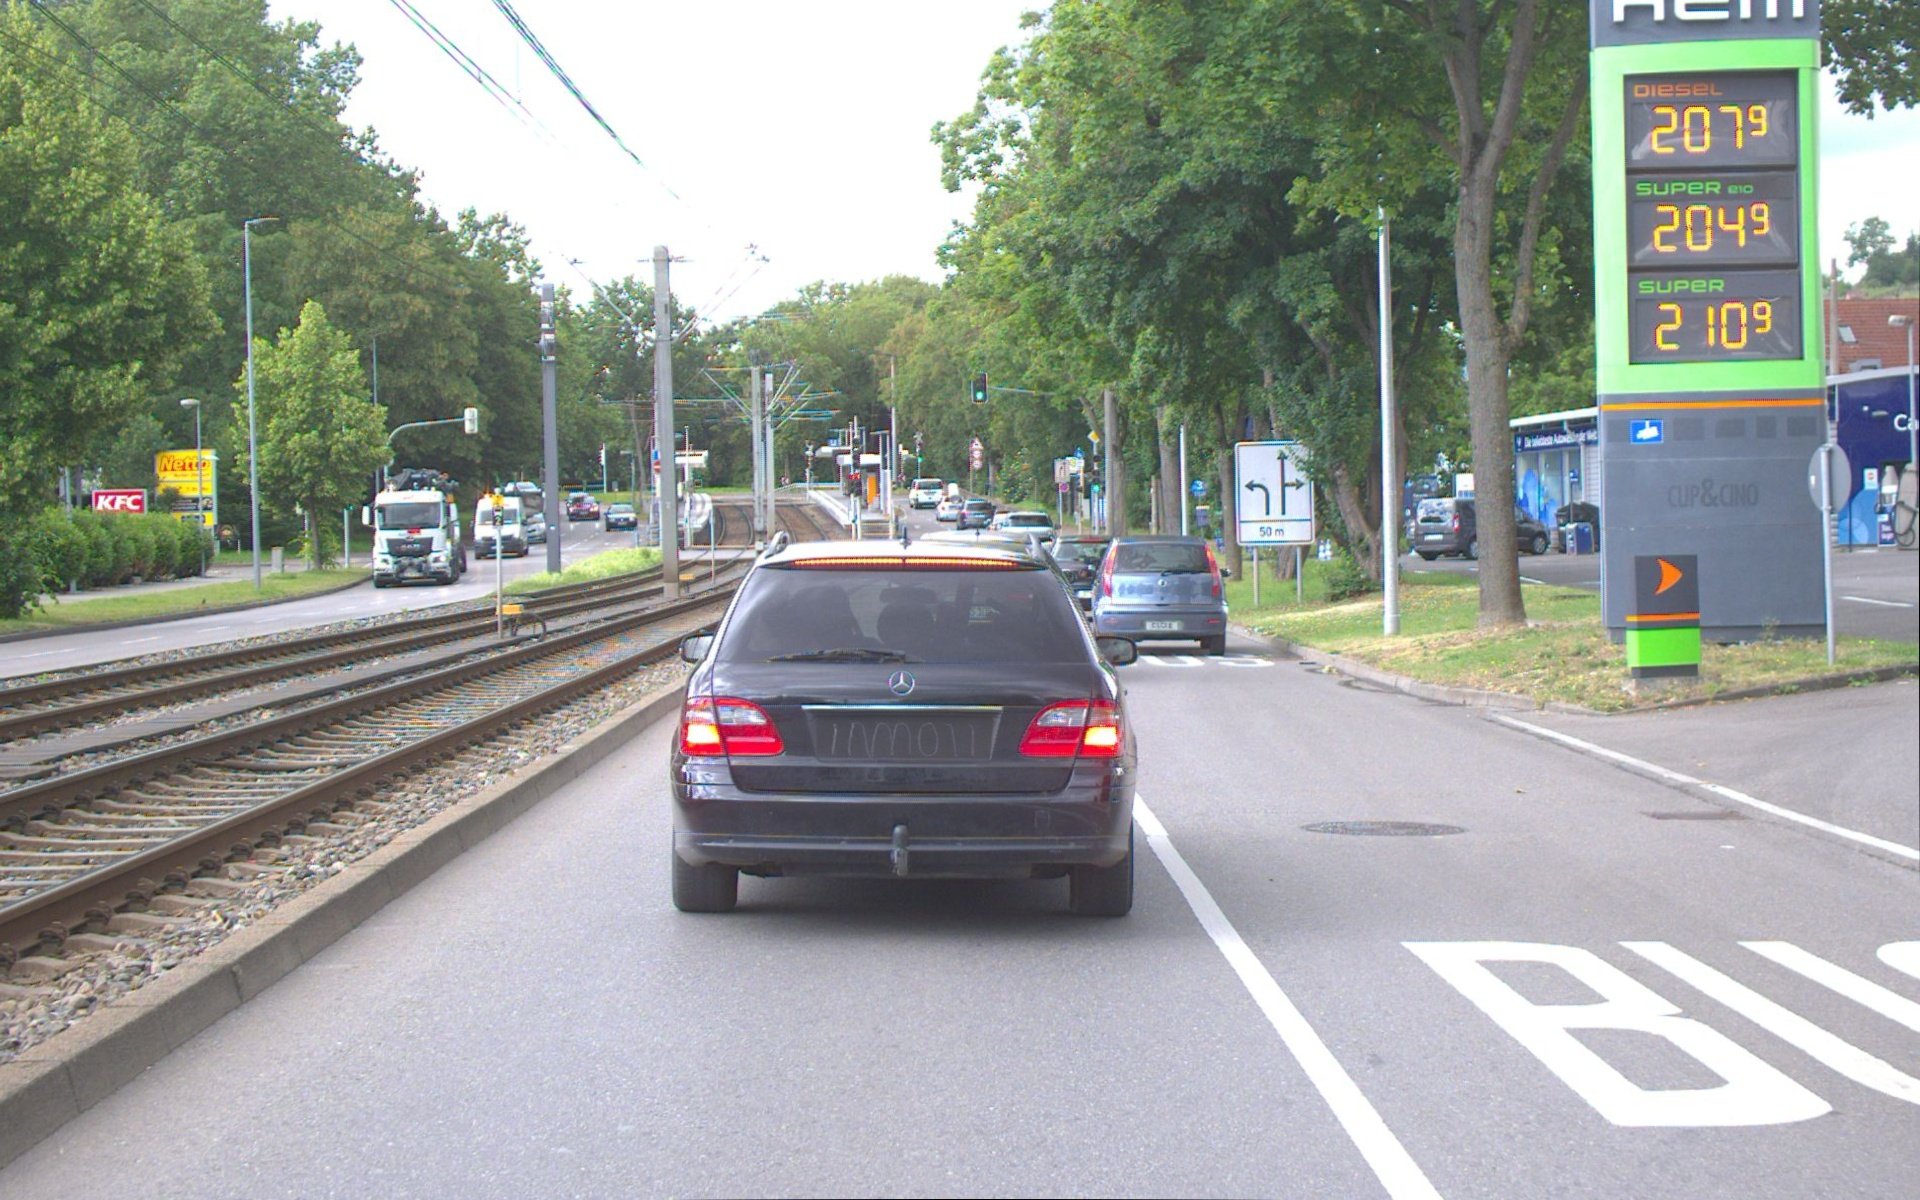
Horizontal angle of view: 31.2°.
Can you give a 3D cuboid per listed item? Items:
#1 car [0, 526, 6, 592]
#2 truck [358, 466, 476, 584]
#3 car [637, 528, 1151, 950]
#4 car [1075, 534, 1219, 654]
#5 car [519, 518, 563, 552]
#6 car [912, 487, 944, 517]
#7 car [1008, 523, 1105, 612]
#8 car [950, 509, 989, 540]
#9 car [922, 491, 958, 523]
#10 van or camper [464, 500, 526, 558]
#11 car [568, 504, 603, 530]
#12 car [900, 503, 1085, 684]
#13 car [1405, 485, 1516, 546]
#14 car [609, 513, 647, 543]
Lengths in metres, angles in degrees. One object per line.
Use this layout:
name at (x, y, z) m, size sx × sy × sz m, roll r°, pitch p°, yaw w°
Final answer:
car at (-25.026, -0.921, 82.185) m, size 3.986 × 1.594 × 1.797 m, roll -2°, pitch 1°, yaw -5°
truck at (-17.996, -2.498, 114.533) m, size 2.706 × 3.651 × 11.114 m, roll -2°, pitch 1°, yaw -3°
car at (-0.245, 0.451, 14.065) m, size 1.808 × 1.469 × 3.881 m, roll 0°, pitch 1°, yaw 0°
car at (2.302, -0.096, 42.980) m, size 1.571 × 1.410 × 3.354 m, roll 1°, pitch 1°, yaw 0°
car at (-20.835, -3.245, 171.129) m, size 1.765 × 1.641 × 3.771 m, roll 1°, pitch 1°, yaw 0°
car at (-2.001, -6.195, 217.424) m, size 1.993 × 1.831 × 4.000 m, roll 1°, pitch 1°, yaw 0°
car at (1.565, -0.542, 56.801) m, size 1.466 × 1.410 × 3.354 m, roll 1°, pitch 1°, yaw 0°
car at (0.471, -3.831, 174.016) m, size 1.666 × 1.527 × 3.771 m, roll 0°, pitch 1°, yaw -4°
car at (-1.131, -5.250, 194.393) m, size 1.993 × 1.708 × 4.000 m, roll -1°, pitch 1°, yaw 0°
van or camper at (-19.724, -3.018, 146.066) m, size 1.993 × 2.346 × 5.766 m, roll -1°, pitch 1°, yaw -2°
car at (-23.549, -5.218, 216.316) m, size 1.765 × 1.641 × 3.771 m, roll 1°, pitch 1°, yaw 0°
car at (0.304, -0.090, 35.543) m, size 1.780 × 1.744 × 3.718 m, roll 1°, pitch 1°, yaw 0°
car at (14.694, -2.497, 100.771) m, size 2.008 × 1.677 × 4.574 m, roll -1°, pitch 2°, yaw 24°
car at (-18.249, -3.951, 189.094) m, size 1.765 × 1.641 × 3.771 m, roll 1°, pitch 1°, yaw 0°
